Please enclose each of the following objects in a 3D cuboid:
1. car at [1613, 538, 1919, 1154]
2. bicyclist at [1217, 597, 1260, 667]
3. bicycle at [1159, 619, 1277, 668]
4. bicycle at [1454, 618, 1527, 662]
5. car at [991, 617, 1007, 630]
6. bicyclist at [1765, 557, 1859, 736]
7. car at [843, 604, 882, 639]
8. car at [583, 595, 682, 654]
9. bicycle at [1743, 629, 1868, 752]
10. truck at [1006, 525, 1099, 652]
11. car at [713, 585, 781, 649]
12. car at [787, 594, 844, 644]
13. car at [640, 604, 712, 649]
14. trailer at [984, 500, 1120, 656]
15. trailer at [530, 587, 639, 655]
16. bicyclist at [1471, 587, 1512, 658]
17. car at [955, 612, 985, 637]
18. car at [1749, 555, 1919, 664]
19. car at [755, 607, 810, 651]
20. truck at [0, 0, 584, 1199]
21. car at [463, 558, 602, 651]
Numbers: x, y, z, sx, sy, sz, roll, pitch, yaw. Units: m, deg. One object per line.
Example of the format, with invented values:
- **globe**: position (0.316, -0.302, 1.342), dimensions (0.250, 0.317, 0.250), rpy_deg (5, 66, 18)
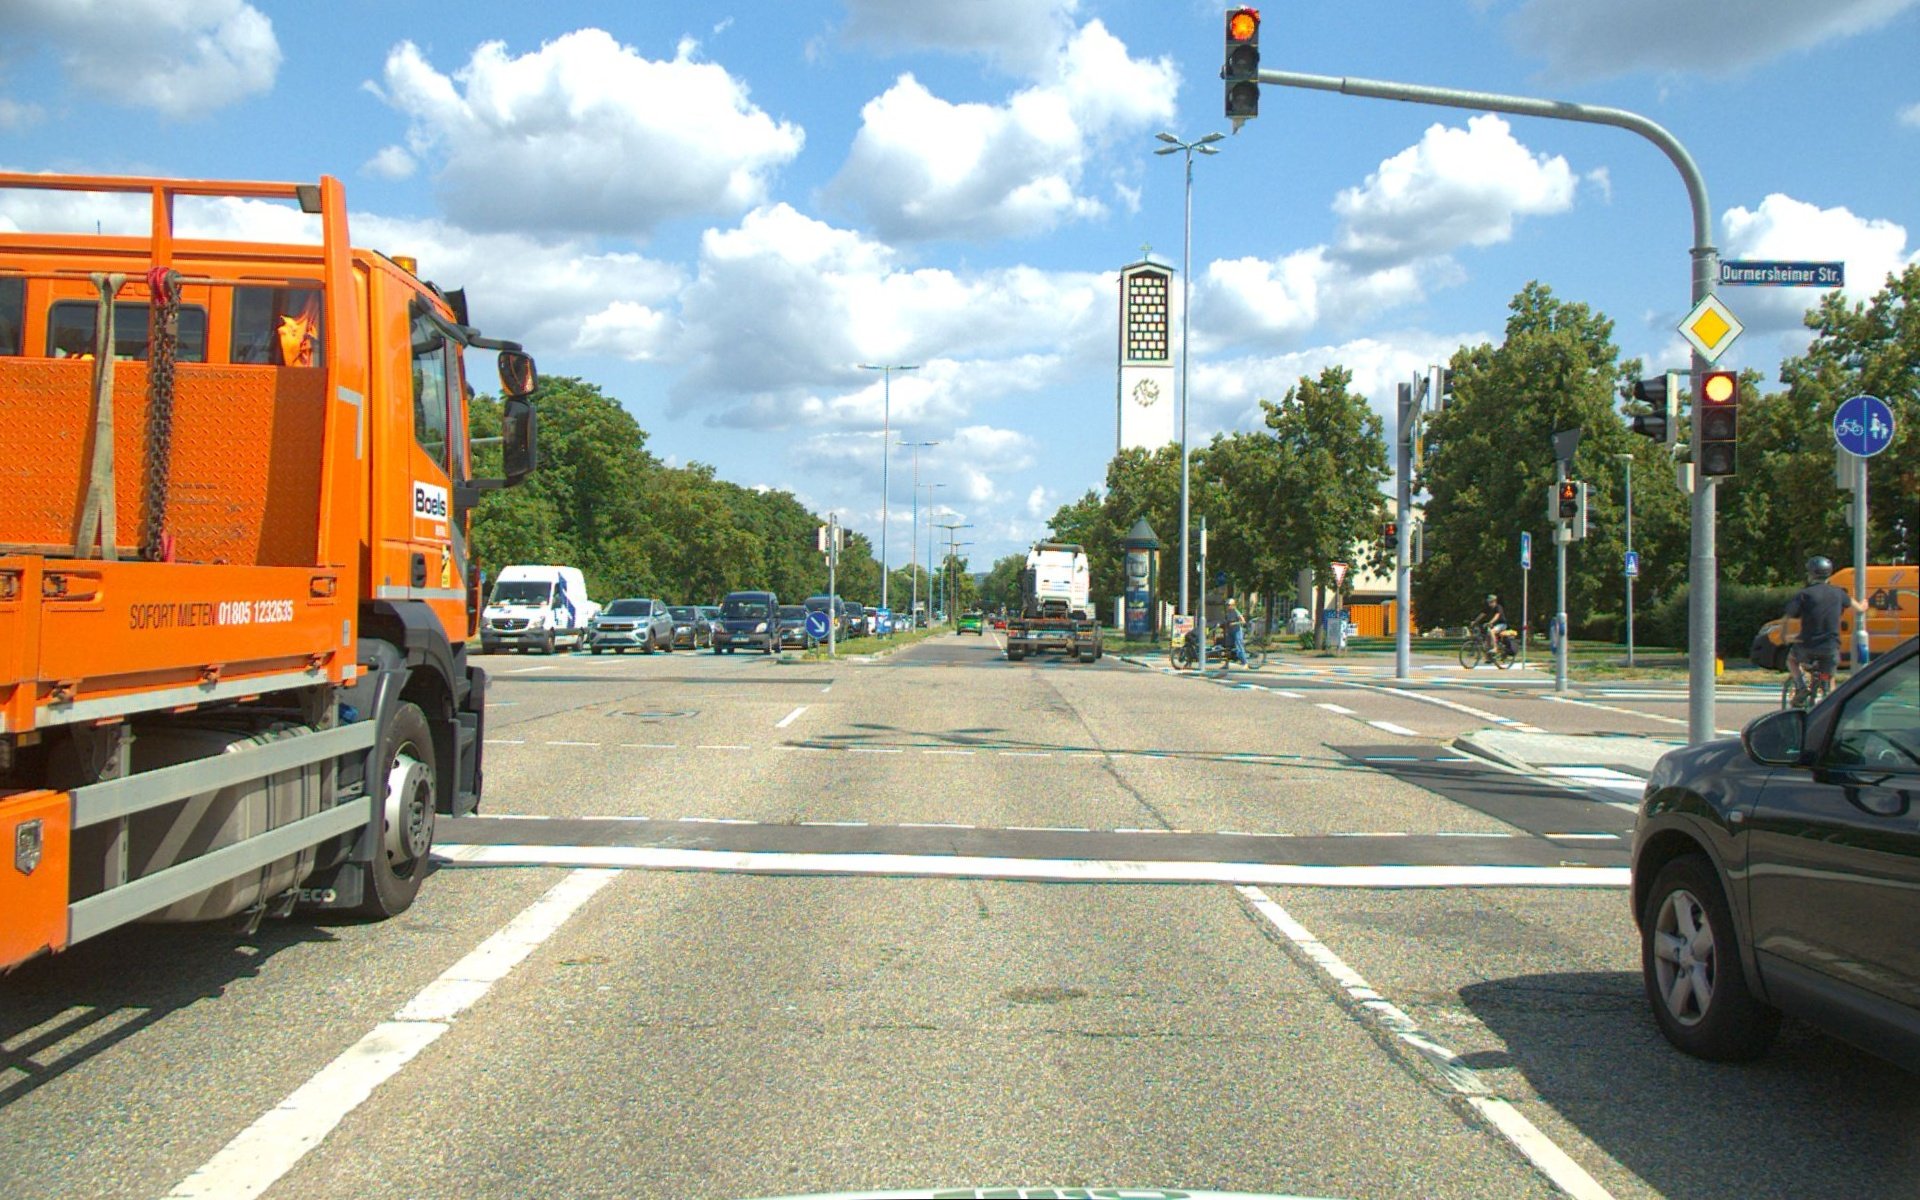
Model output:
- **car**: position (3.368, 0.664, 4.079), dimensions (1.763, 1.579, 3.998), rpy_deg (3, -1, -2)
- **bicyclist**: position (6.671, 0.759, 39.682), dimensions (0.689, 1.644, 0.791), rpy_deg (1, 0, -24)
- **bicycle**: position (6.167, 1.045, 39.456), dimensions (2.796, 1.131, 0.791), rpy_deg (1, 0, -25)
- **bicycle**: position (13.894, 1.042, 43.284), dimensions (1.976, 1.113, 0.679), rpy_deg (1, -1, -31)
- **car**: position (5.097, 3.120, 216.885), dimensions (1.953, 1.579, 3.999), rpy_deg (3, -1, -1)
- **bicyclist**: position (8.354, 0.448, 16.235), dimensions (0.634, 1.690, 0.650), rpy_deg (2, -1, 13)
- **car**: position (-5.091, 1.120, 86.963), dimensions (1.699, 1.689, 4.231), rpy_deg (3, -1, 0)
- **car**: position (-9.359, 0.703, 47.569), dimensions (1.698, 1.570, 4.310), rpy_deg (2, -1, 4)
- **bicycle**: position (8.401, 0.872, 16.504), dimensions (0.634, 1.127, 1.929), rpy_deg (2, -1, 13)
- **truck**: position (3.244, -0.294, 57.531), dimensions (2.897, 4.040, 8.641), rpy_deg (1, -1, 4)
- **car**: position (-6.064, 0.489, 47.401), dimensions (1.701, 1.689, 4.226), rpy_deg (3, -1, -5)
- **car**: position (-5.396, 0.680, 62.274), dimensions (1.699, 1.689, 4.231), rpy_deg (3, 0, 0)
- **car**: position (-9.195, 0.846, 53.730), dimensions (1.728, 1.375, 3.518), rpy_deg (1, -1, -1)
- **trailer**: position (2.800, -0.480, 49.703), dimensions (3.544, 4.082, 11.323), rpy_deg (1, -1, 4)
- **trailer**: position (-12.334, 0.696, 54.661), dimensions (2.080, 2.049, 5.163), rpy_deg (2, -1, 3)
- **bicyclist**: position (13.919, 0.594, 43.301), dimensions (0.778, 1.836, 0.679), rpy_deg (1, -1, -31)
- **car**: position (0.687, 1.719, 116.173), dimensions (1.953, 1.579, 3.999), rpy_deg (3, -1, -1)
- **car**: position (20.303, 0.238, 36.701), dimensions (4.759, 2.264, 2.205), rpy_deg (2, -1, 33)
- **car**: position (-5.861, 0.944, 54.835), dimensions (1.537, 1.339, 3.430), rpy_deg (3, -1, -3)
- **truck**: position (-3.353, -0.470, 3.206), dimensions (3.009, 3.474, 11.062), rpy_deg (3, -1, -2)
- **car**: position (-12.562, 0.162, 49.063), dimensions (2.128, 2.514, 5.969), rpy_deg (2, -1, 3)
